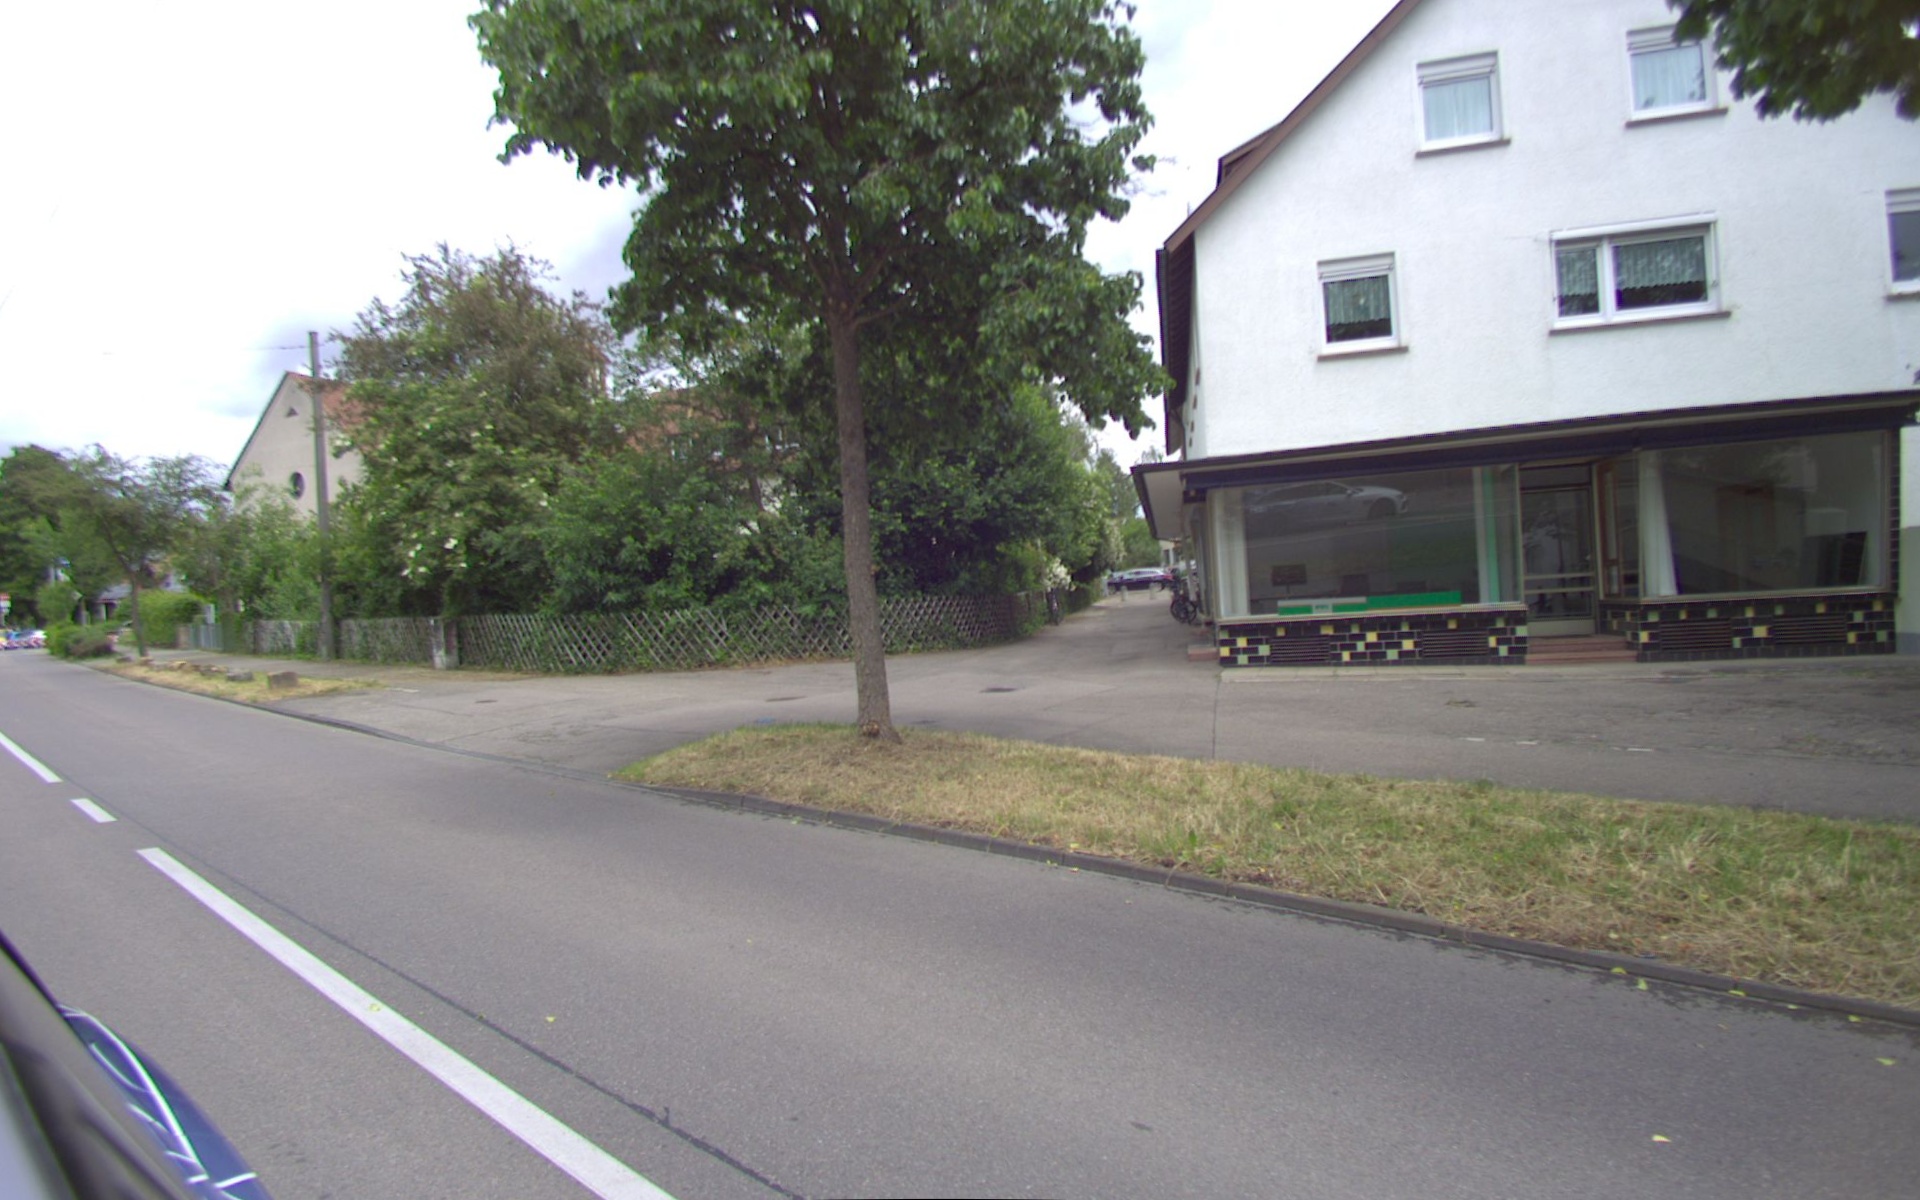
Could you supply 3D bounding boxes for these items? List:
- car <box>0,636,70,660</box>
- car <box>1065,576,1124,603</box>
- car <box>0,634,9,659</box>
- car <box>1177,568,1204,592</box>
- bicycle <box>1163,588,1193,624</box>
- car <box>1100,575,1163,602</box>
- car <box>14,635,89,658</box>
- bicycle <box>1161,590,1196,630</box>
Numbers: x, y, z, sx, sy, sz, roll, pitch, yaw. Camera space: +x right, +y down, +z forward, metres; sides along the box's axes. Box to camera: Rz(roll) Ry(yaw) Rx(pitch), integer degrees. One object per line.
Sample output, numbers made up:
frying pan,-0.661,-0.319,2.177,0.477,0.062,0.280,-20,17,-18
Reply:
car,-70.829,3.659,77.239,1.844,1.558,4.122,-5,-1,40
car,8.511,-0.665,64.107,3.557,1.519,1.632,-2,0,5
car,-78.133,3.793,81.634,1.894,2.004,4.803,-2,-1,-45
car,15.393,-1.296,67.542,1.619,1.482,3.586,-2,0,14
bicycle,6.012,0.163,27.862,0.631,0.891,1.396,-3,1,18
car,10.326,-0.709,61.218,3.557,1.482,1.632,-2,0,5
car,-68.550,3.484,76.408,1.840,1.483,3.862,-4,-1,33
bicycle,5.602,0.240,25.890,0.655,0.919,1.636,-3,2,18
